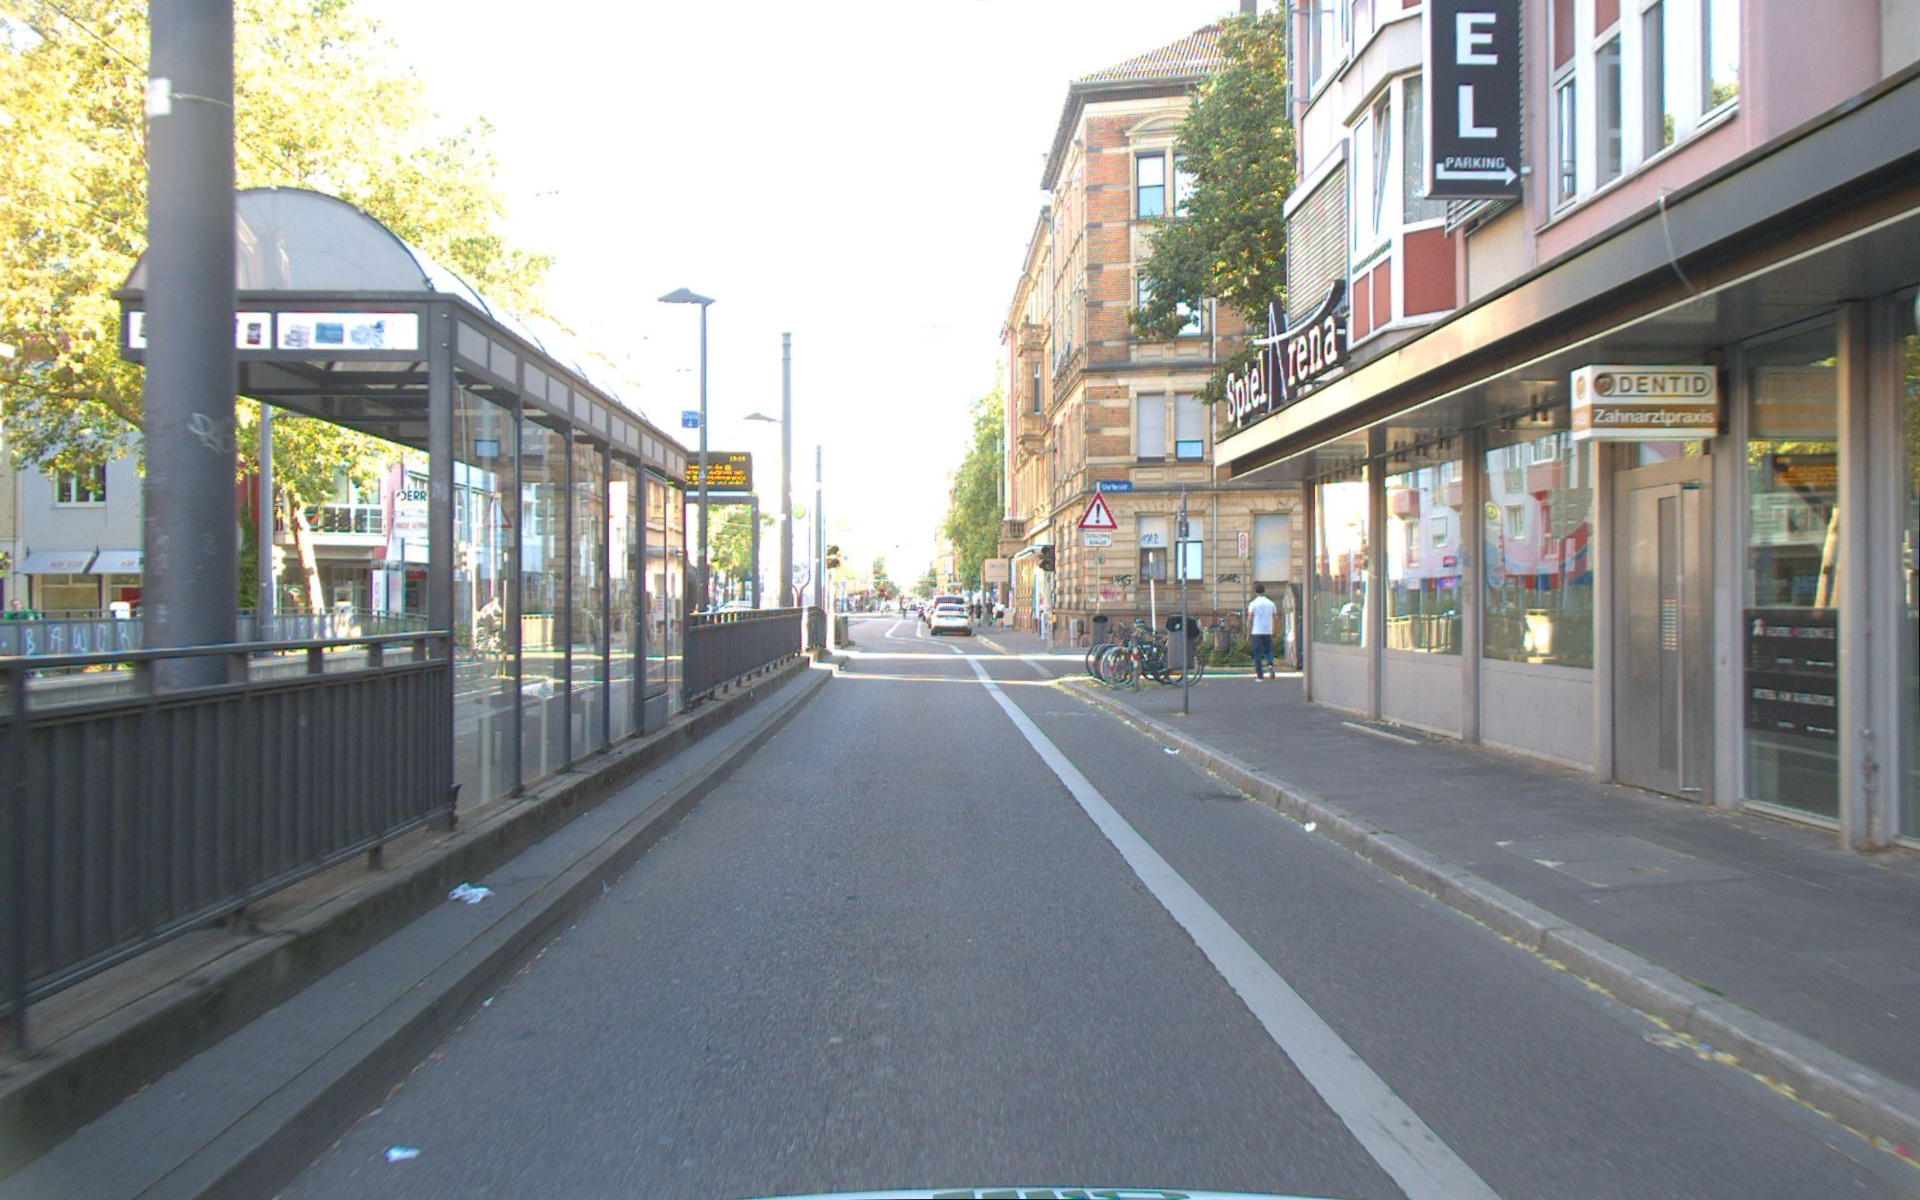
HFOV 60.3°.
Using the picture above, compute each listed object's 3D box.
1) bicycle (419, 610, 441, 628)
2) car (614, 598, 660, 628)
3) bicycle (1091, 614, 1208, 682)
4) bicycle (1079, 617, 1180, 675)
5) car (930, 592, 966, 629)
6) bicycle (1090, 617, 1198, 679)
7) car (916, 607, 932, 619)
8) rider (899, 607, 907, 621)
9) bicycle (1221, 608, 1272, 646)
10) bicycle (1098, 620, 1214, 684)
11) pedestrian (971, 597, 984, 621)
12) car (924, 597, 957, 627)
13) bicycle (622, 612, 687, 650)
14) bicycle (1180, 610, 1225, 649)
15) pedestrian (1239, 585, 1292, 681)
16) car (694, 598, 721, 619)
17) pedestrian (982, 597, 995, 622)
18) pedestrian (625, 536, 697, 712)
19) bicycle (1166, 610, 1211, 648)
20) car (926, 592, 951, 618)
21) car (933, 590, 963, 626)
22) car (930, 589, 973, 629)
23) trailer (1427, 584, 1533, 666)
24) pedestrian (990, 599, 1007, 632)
[{"bbox_3d":[-20.949,0.743,65.411,0.447,0.670,1.807,2,0,-7],"label":"bicycle"},{"bbox_3d":[-19.803,0.822,101.574,2.049,1.743,4.816,1,-1,-3],"label":"car"},{"bbox_3d":[3.287,0.830,28.774,1.931,1.124,0.614,-1,0,-5],"label":"bicycle"},{"bbox_3d":[3.187,0.856,31.175,1.798,1.072,0.709,0,0,-5],"label":"bicycle"},{"bbox_3d":[-0.651,0.576,90.387,1.915,1.901,4.988,1,0,0],"label":"car"},{"bbox_3d":[3.264,0.852,29.405,1.798,1.072,0.717,0,0,-5],"label":"bicycle"},{"bbox_3d":[-4.699,1.715,214.481,2.024,1.413,4.223,2,0,-2],"label":"car"},{"bbox_3d":[-6.247,1.491,181.835,0.865,1.507,0.713,2,-1,-1],"label":"rider"},{"bbox_3d":[8.079,0.751,46.719,0.489,1.042,1.895,0,0,-22],"label":"bicycle"},{"bbox_3d":[3.325,0.872,28.118,1.876,1.066,0.680,0,0,-5],"label":"bicycle"},{"bbox_3d":[1.134,0.590,109.177,0.760,1.594,0.913,-3,0,-1],"label":"pedestrian"},{"bbox_3d":[-1.288,0.776,105.803,1.910,1.819,5.178,1,0,-3],"label":"car"},{"bbox_3d":[-9.460,0.962,51.310,1.854,1.096,0.584,2,-1,1],"label":"bicycle"},{"bbox_3d":[6.825,0.820,46.594,0.411,1.042,1.896,0,0,-20],"label":"bicycle"},{"bbox_3d":[5.546,0.590,30.050,0.767,1.694,1.033,0,1,-1],"label":"pedestrian"},{"bbox_3d":[-20.717,0.678,135.619,1.832,1.628,4.250,0,0,-4],"label":"car"},{"bbox_3d":[1.906,0.622,109.279,0.760,1.594,0.913,-3,0,-1],"label":"pedestrian"},{"bbox_3d":[-3.032,0.234,16.839,0.610,1.742,0.849,0,0,-2],"label":"pedestrian"},{"bbox_3d":[6.424,0.803,46.582,0.444,1.042,1.896,0,0,-20],"label":"bicycle"},{"bbox_3d":[-1.757,0.378,136.219,1.931,2.049,4.557,-2,0,-1],"label":"car"},{"bbox_3d":[-0.710,0.510,101.212,1.670,2.157,3.706,0,-1,1],"label":"car"},{"bbox_3d":[-0.433,0.433,78.483,1.926,1.802,4.874,1,0,-1],"label":"car"},{"bbox_3d":[12.006,0.569,38.401,1.924,1.762,3.936,-1,-1,12],"label":"trailer"},{"bbox_3d":[1.930,0.777,83.426,0.760,1.594,0.914,-3,0,1],"label":"pedestrian"}]
